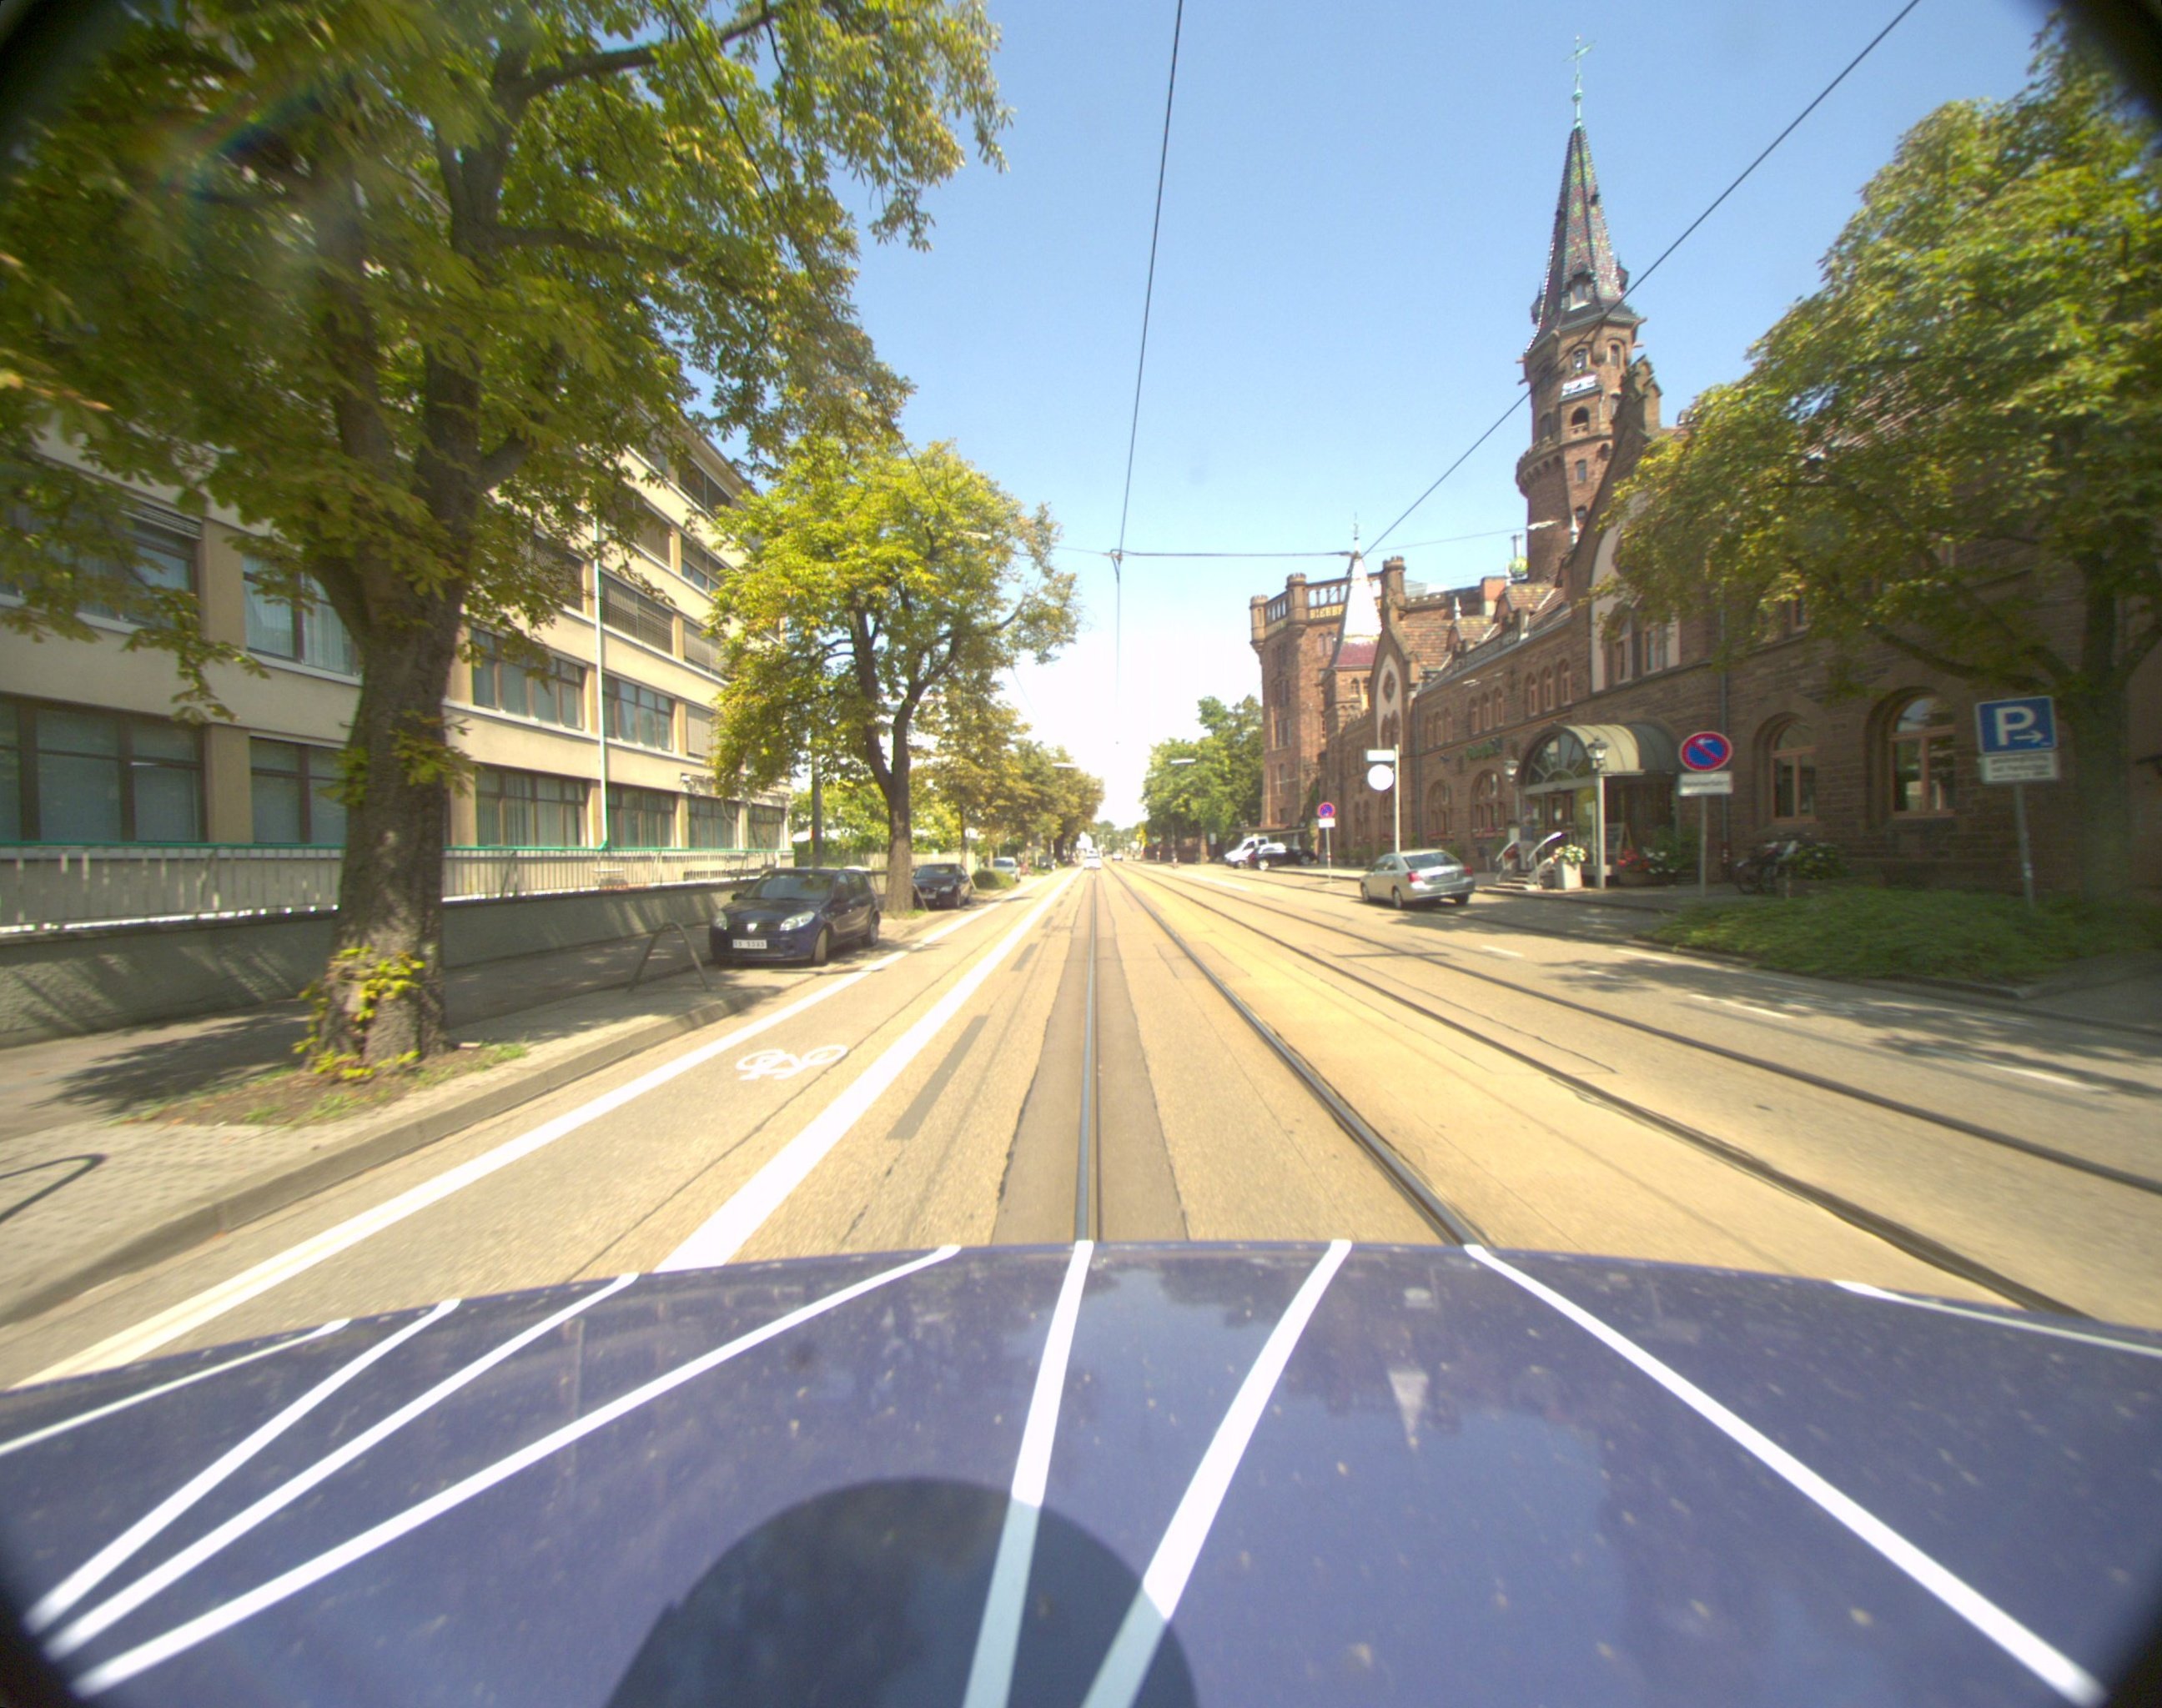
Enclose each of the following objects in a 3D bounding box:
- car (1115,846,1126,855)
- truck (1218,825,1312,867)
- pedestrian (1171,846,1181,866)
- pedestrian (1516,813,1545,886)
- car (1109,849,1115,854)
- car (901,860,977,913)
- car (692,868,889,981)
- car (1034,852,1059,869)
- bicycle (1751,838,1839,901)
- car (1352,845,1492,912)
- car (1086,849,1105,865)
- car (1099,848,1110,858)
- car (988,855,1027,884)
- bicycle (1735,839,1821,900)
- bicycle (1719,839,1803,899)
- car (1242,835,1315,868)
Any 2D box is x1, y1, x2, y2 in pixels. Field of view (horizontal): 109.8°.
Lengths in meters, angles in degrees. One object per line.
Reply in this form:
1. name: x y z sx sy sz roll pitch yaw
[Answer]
1. car: 7.618 -0.669 146.344 1.998 1.783 4.000 -2 1 2
2. truck: 14.089 -0.628 58.528 6.510 2.510 2.317 -6 1 2
3. pedestrian: 8.658 0.199 69.344 0.736 1.837 0.828 -2 1 2
4. pedestrian: 12.431 -0.127 21.016 0.520 1.969 0.504 -3 2 -35
5. car: 10.197 -0.945 250.075 1.798 1.501 4.000 -2 0 2
6. car: -4.482 0.991 24.545 1.642 1.465 3.993 1 1 1
7. car: -4.684 1.047 12.933 1.645 1.561 4.084 0 0 2
8. car: -3.290 0.575 73.458 1.998 1.521 4.000 -2 1 2
9. bicycle: 13.930 0.301 14.831 1.449 1.056 0.377 -7 2 -8
10. car: 9.022 0.561 20.564 1.939 1.493 4.515 -4 1 4
11. car: 1.455 0.271 74.620 1.824 1.483 4.019 -1 0 2
12. car: 3.925 -0.200 127.882 1.677 1.477 3.778 -1 1 1
13. car: -4.158 0.851 43.398 1.642 1.464 3.878 -2 1 2
14. bicycle: 13.890 0.299 15.135 1.449 1.056 0.377 -7 2 -8
15. bicycle: 13.847 0.296 15.465 1.449 1.056 0.377 -7 2 -8
16. car: 13.595 -0.184 52.464 4.407 1.787 2.000 -6 1 4
